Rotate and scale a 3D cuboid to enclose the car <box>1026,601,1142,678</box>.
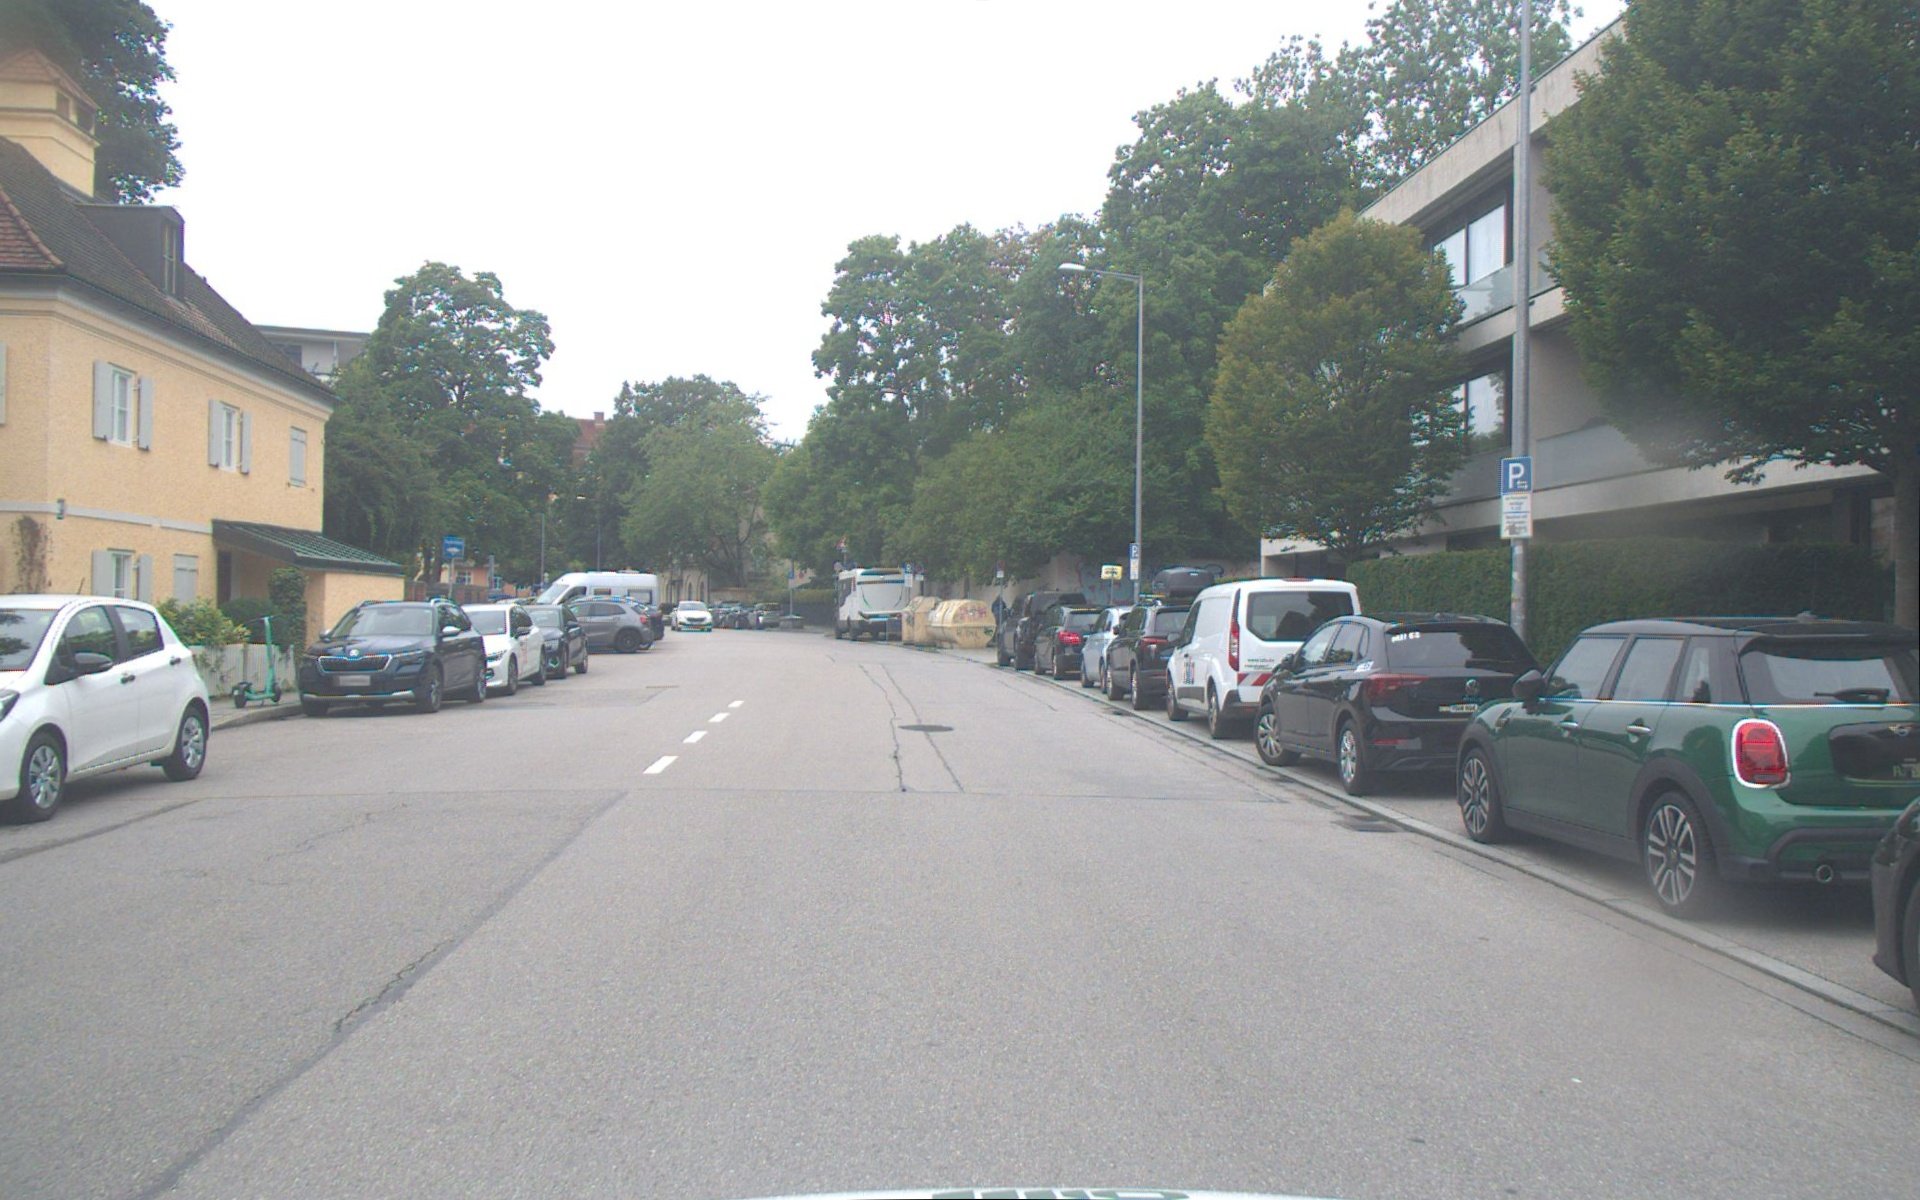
[{"bbox_3d":[2.633,0.815,36.154,1.714,1.566,4.563,1,0,-6],"label":"car"}]

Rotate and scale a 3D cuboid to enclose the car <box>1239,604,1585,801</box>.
[{"bbox_3d":[3.839,0.789,14.835,1.713,1.489,4.239,0,0,-4],"label":"car"}]

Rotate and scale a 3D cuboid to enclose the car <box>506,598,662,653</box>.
[{"bbox_3d":[-10.845,0.747,47.616,4.263,1.557,1.924,0,-2,-18],"label":"car"}]

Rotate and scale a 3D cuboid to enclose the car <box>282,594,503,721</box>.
[{"bbox_3d":[-7.932,0.763,23.554,1.808,1.562,4.438,-2,-1,-3],"label":"car"}]

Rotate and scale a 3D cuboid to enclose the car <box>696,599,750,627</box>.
[{"bbox_3d":[-15.137,0.824,105.415,1.970,1.741,4.843,-1,0,-26],"label":"car"}]

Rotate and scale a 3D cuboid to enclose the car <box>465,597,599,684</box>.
[{"bbox_3d":[-8.512,0.753,33.269,1.809,1.562,4.557,-2,0,-5],"label":"car"}]

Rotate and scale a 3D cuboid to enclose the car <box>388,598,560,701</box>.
[{"bbox_3d":[-8.211,0.784,28.363,1.808,1.562,4.518,-2,0,-3],"label":"car"}]

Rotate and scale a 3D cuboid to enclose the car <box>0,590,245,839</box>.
[{"bbox_3d":[-7.037,0.746,12.340,1.743,1.562,4.225,-2,0,-4],"label":"car"}]

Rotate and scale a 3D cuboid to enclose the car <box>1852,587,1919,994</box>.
[{"bbox_3d":[4.380,0.729,4.066,1.256,1.532,5.203,-2,1,-4],"label":"car"}]

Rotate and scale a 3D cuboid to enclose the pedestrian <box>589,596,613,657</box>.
[{"bbox_3d":[-10.123,0.740,46.645,0.579,1.676,0.712,-2,0,-13],"label":"pedestrian"}]

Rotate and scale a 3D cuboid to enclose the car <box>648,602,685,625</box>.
[{"bbox_3d":[-21.111,0.987,118.691,1.684,1.564,4.209,-1,0,-23],"label":"car"}]

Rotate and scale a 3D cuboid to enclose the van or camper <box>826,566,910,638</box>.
[{"bbox_3d":[-4.107,0.098,72.341,2.235,2.957,7.246,1,0,-15],"label":"van or camper"}]

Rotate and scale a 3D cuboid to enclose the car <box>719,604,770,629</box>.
[{"bbox_3d":[-13.211,0.975,101.228,1.854,1.452,4.186,-1,0,-26],"label":"car"}]

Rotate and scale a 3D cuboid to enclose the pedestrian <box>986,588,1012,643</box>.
[{"bbox_3d":[1.443,0.581,60.973,0.783,2.020,0.627,1,-1,-18],"label":"pedestrian"}]

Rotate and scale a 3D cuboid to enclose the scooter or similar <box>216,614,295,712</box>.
[{"bbox_3d":[-9.097,0.796,21.406,0.443,1.209,1.370,2,0,-3],"label":"scooter or similar"}]

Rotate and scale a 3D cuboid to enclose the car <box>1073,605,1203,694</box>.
[{"bbox_3d":[3.204,0.864,30.462,1.713,1.506,3.885,1,0,-4],"label":"car"}]

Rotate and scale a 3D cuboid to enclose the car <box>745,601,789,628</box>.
[{"bbox_3d":[-11.396,0.850,97.542,1.718,1.563,2.921,-1,-1,-27],"label":"car"}]

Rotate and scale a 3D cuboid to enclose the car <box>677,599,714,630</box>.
[{"bbox_3d":[-13.129,0.710,82.256,1.739,1.501,4.126,1,0,-8],"label":"car"}]

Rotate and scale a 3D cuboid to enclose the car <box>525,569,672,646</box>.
[{"bbox_3d":[-12.733,0.244,58.360,4.589,2.608,2.204,-1,0,-38],"label":"car"}]

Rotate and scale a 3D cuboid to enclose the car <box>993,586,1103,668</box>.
[{"bbox_3d":[2.138,0.672,41.498,1.950,1.904,5.070,1,-1,-6],"label":"car"}]

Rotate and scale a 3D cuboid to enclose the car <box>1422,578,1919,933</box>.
[{"bbox_3d":[4.222,0.676,9.512,1.693,1.556,4.201,-1,0,-4],"label":"car"}]

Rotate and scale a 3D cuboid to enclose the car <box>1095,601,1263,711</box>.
[{"bbox_3d":[3.309,0.797,25.847,1.713,1.506,4.594,1,0,-4],"label":"car"}]

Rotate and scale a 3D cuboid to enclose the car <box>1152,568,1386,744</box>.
[{"bbox_3d":[3.703,0.616,20.713,1.786,1.893,4.896,2,0,-2],"label":"car"}]

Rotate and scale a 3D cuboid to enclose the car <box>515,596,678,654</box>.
[{"bbox_3d":[-11.051,0.734,50.371,4.480,1.621,1.939,-1,0,-38],"label":"car"}]
